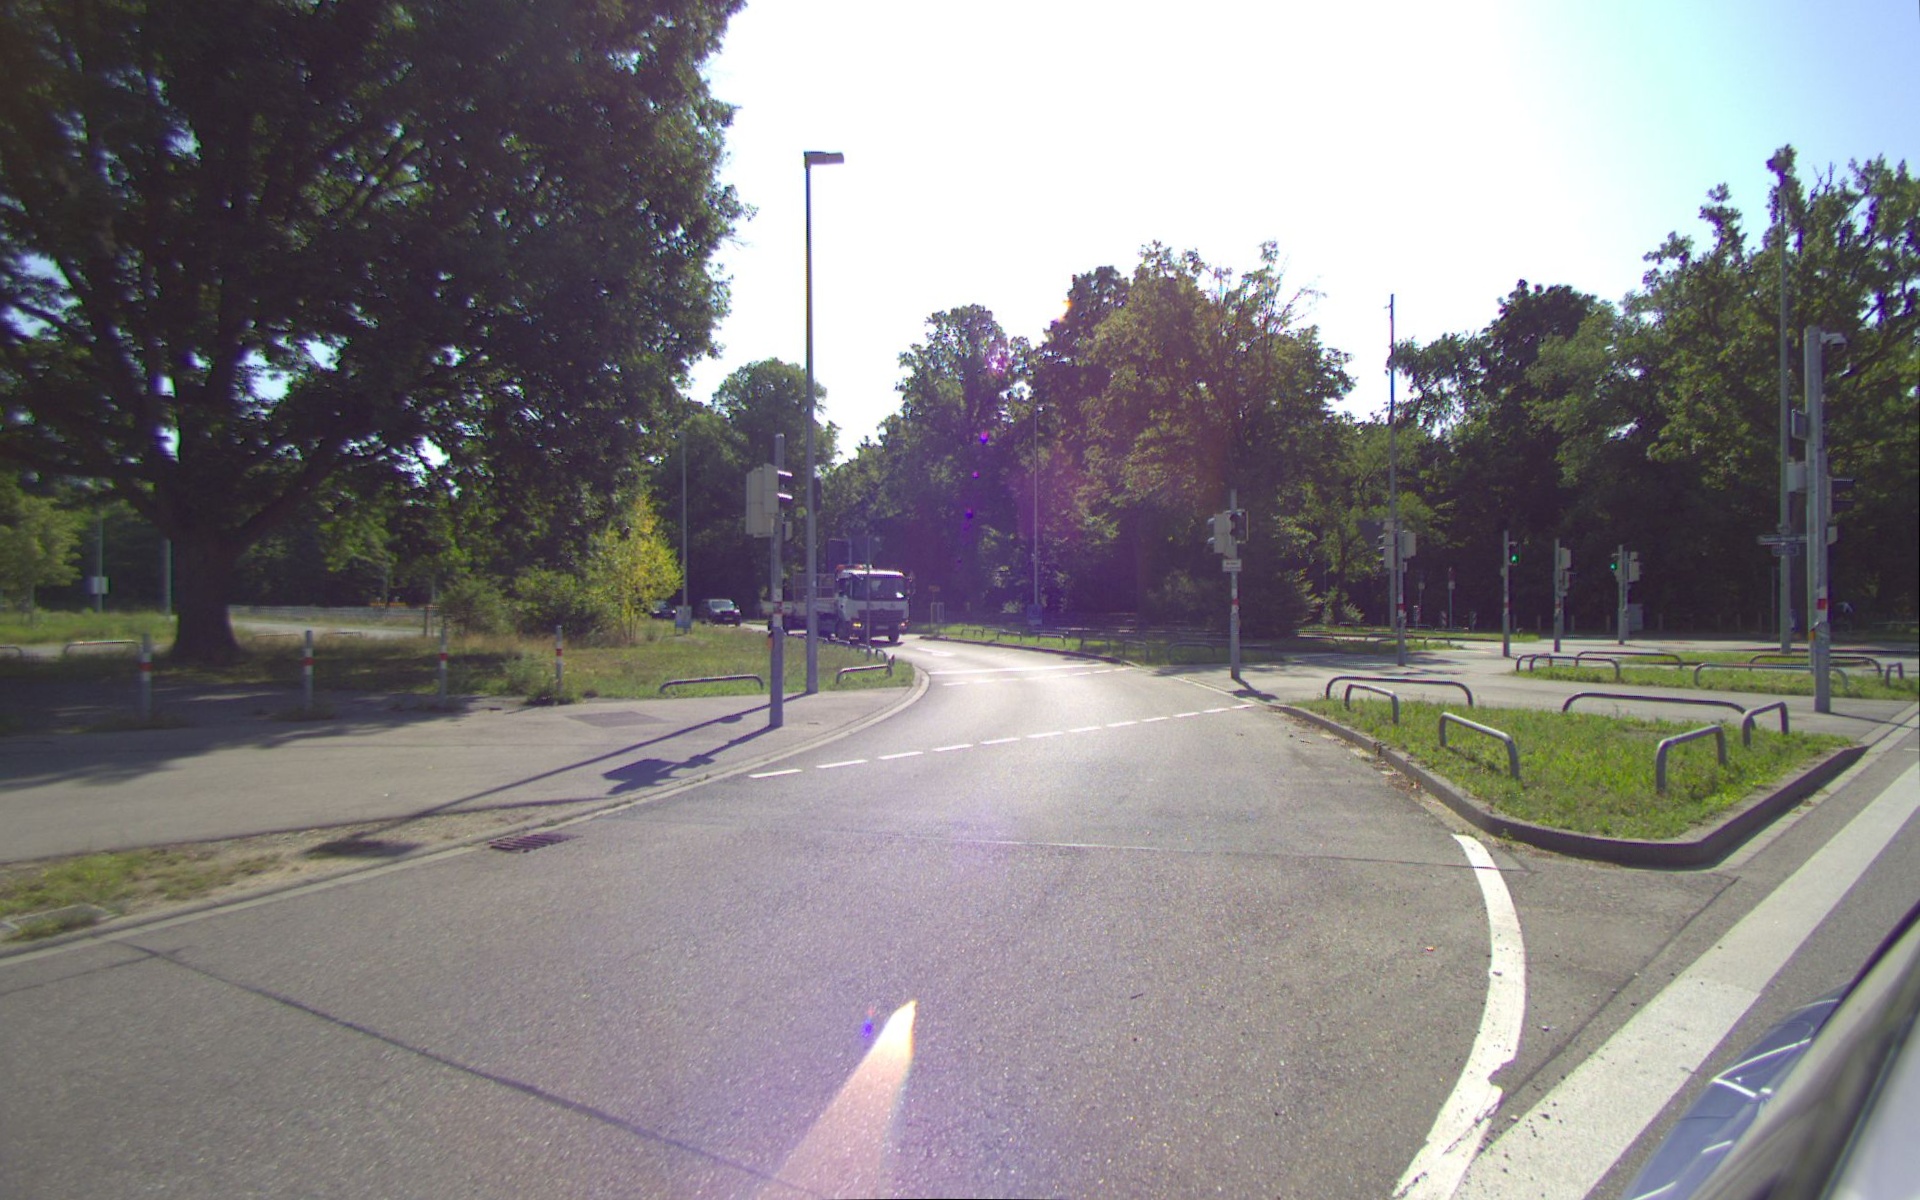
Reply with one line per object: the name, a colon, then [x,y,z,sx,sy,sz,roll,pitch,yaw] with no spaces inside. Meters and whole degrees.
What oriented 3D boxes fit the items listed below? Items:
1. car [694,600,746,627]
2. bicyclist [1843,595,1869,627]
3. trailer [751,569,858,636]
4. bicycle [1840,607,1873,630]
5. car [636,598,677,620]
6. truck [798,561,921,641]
car: [-13.986,0.775,58.899,1.810,1.502,4.003,0,0,-31]
bicyclist: [46.707,0.578,52.749,1.037,1.660,0.727,0,-1,-31]
trailer: [-6.948,0.103,44.440,2.648,2.722,6.898,0,0,-27]
bicycle: [46.755,0.955,52.769,2.059,1.215,0.727,0,0,-31]
car: [-22.070,0.640,73.515,1.960,1.505,4.003,0,0,-30]
truck: [-3.965,0.043,38.523,2.625,2.752,6.212,0,0,-27]
